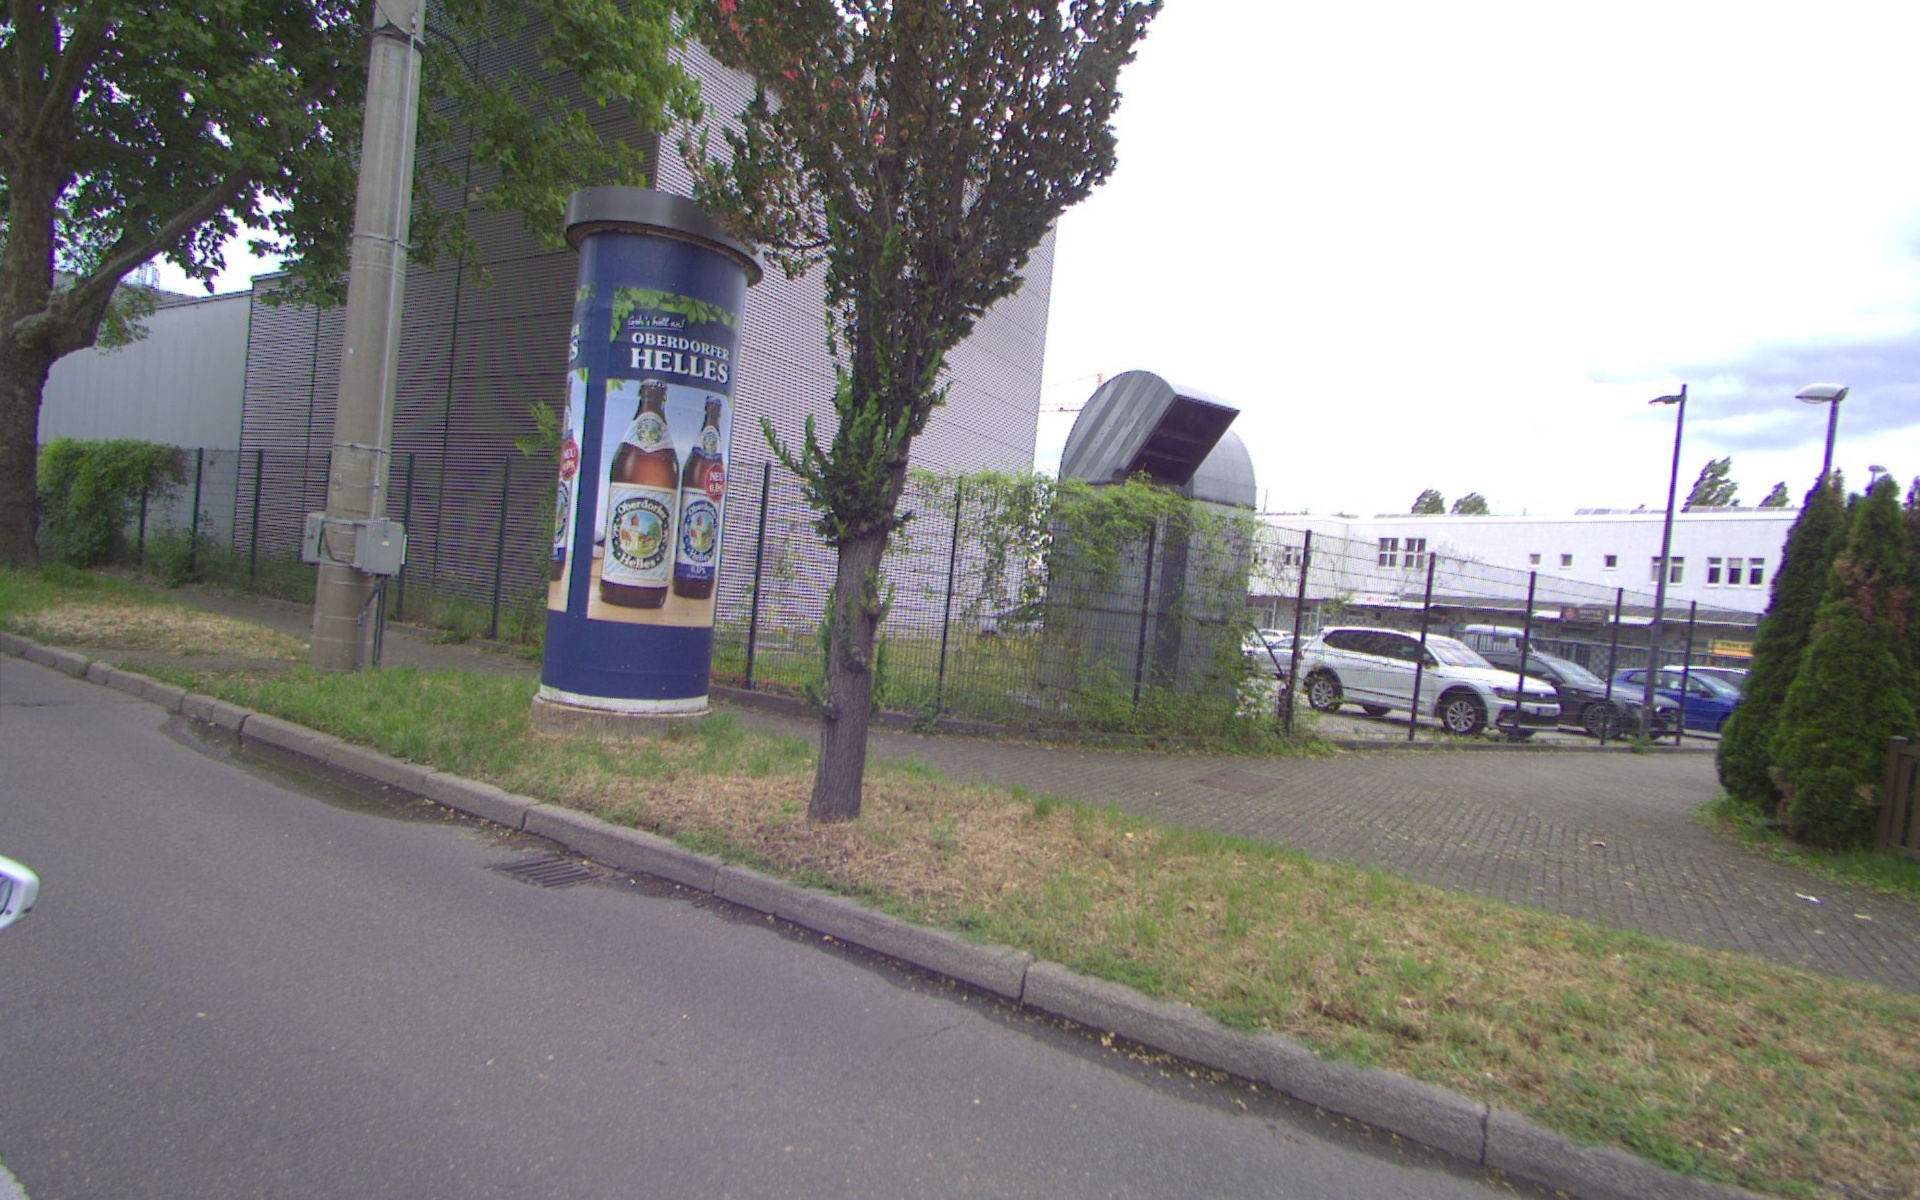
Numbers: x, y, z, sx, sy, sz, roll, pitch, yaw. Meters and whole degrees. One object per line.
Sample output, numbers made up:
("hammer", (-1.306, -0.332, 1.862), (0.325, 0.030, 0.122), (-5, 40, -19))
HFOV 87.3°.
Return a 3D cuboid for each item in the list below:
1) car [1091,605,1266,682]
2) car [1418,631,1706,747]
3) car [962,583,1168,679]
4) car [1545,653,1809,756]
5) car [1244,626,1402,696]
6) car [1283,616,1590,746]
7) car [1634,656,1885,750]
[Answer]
("car", (6.181, 1.214, 28.809), (4.418, 1.686, 1.999), (6, 0, -1))
("car", (11.924, 1.710, 20.257), (1.978, 1.686, 4.465), (6, 0, -31))
("car", (2.436, 0.713, 23.464), (4.197, 1.668, 1.999), (6, -2, 29))
("car", (16.404, 2.345, 23.277), (1.978, 1.686, 4.465), (6, 0, -31))
("car", (11.373, 1.894, 31.790), (1.982, 1.668, 4.233), (8, -3, -34))
("car", (8.250, 1.351, 17.864), (1.978, 1.686, 4.465), (6, 0, -31))
("car", (20.080, 2.548, 25.487), (1.978, 1.686, 4.465), (6, 0, -31))
